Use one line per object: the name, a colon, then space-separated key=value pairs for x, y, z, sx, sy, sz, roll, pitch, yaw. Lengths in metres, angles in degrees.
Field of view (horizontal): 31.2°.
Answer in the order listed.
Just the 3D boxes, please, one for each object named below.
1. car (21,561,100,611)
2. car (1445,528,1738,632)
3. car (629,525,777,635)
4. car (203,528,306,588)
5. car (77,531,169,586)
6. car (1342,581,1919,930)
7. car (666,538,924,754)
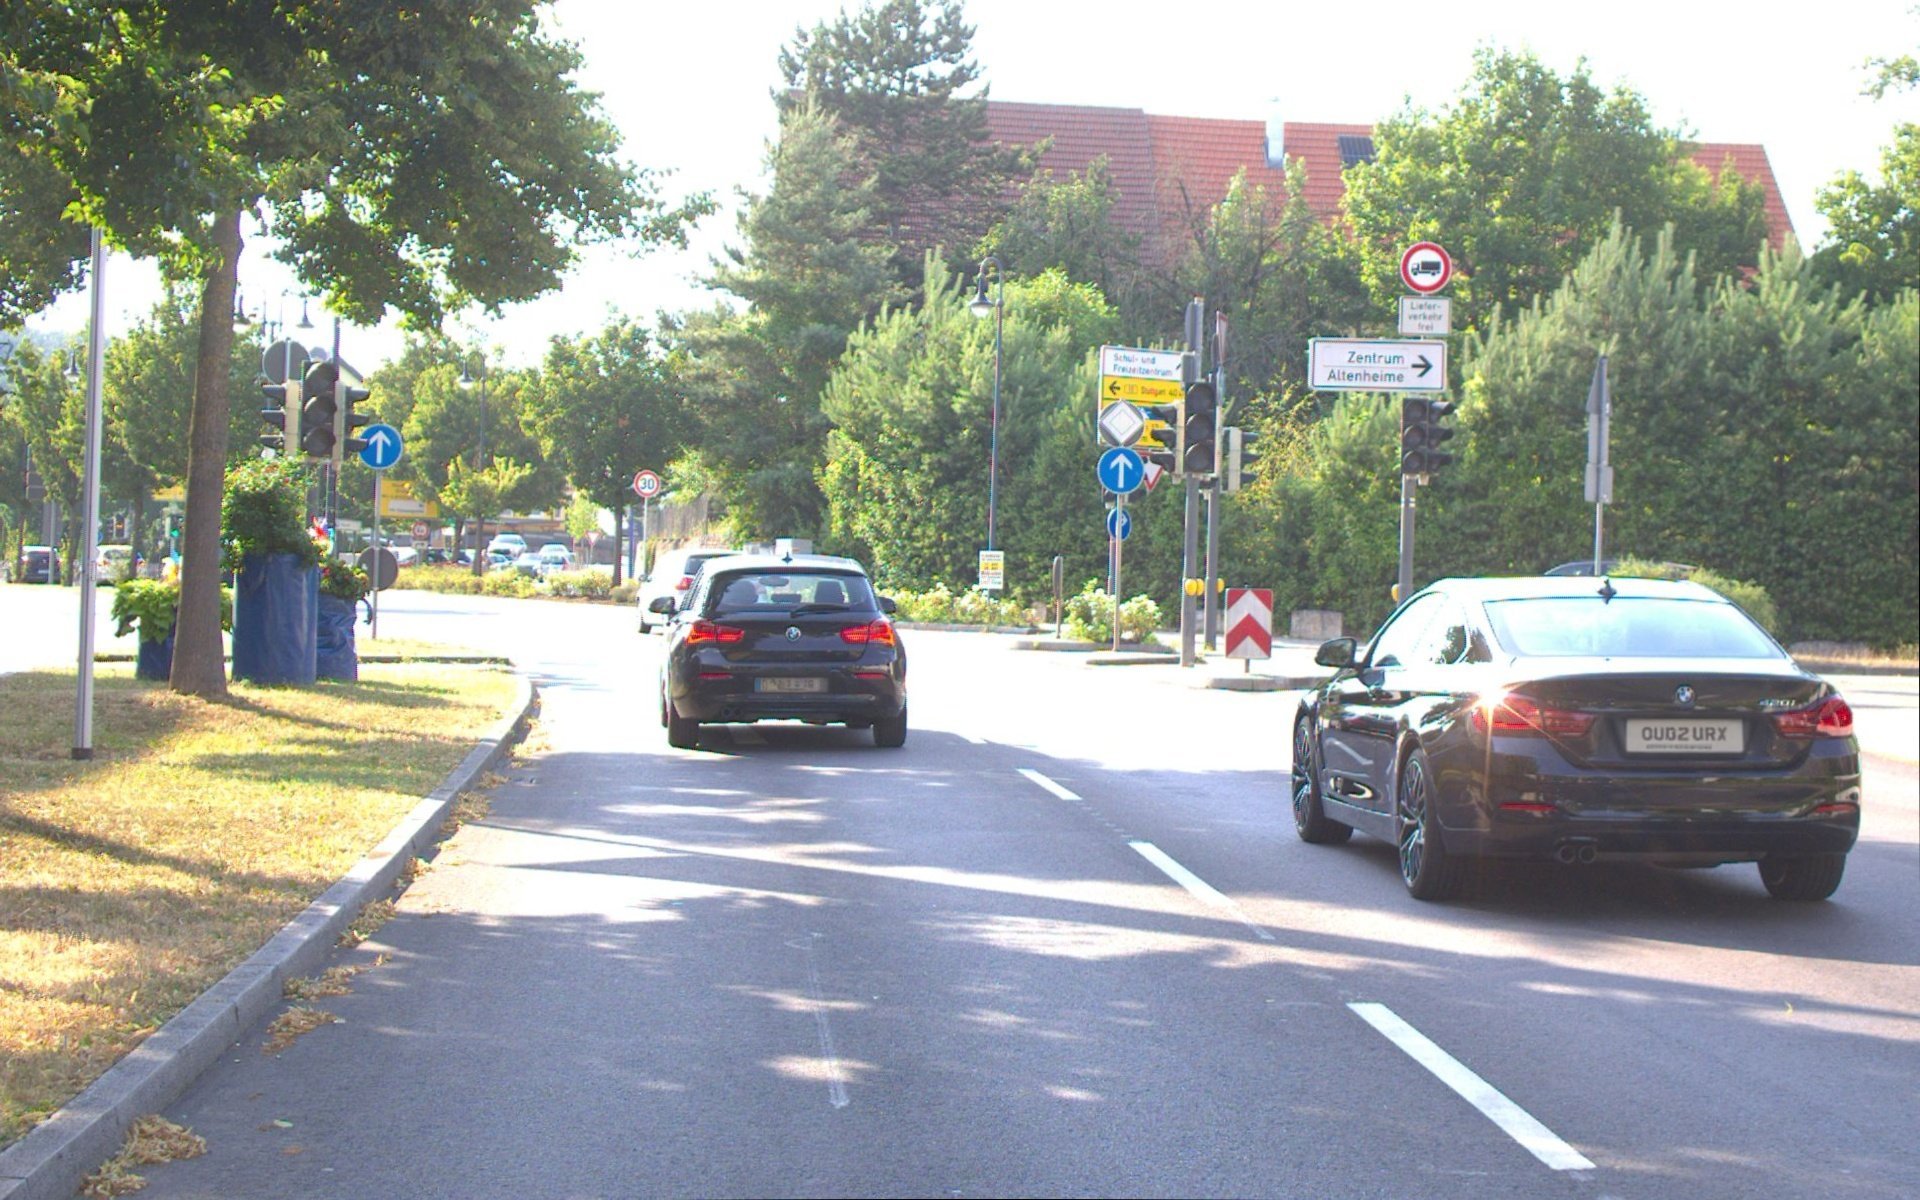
car: x=-33.487 y=-0.536 z=127.892 sx=2.216 sy=1.763 sz=4.455 roll=1 pitch=1 yaw=-23
car: x=10.146 y=-0.339 z=55.272 sx=4.264 sy=1.561 sz=1.789 roll=1 pitch=1 yaw=29
car: x=-4.404 y=-0.352 z=58.316 sx=1.924 sy=1.763 sz=4.455 roll=1 pitch=1 yaw=-12
car: x=-21.456 y=-1.283 z=104.465 sx=2.216 sy=1.763 sz=4.455 roll=1 pitch=1 yaw=-23
car: x=-27.339 y=-1.363 z=112.196 sx=2.216 sy=1.763 sz=4.455 roll=1 pitch=1 yaw=-23
car: x=2.918 y=0.606 z=15.843 sx=1.920 sy=1.359 sz=4.353 roll=1 pitch=0 yaw=1
car: x=-1.197 y=0.305 z=26.559 sx=1.721 sy=1.485 sz=4.353 roll=1 pitch=1 yaw=0
